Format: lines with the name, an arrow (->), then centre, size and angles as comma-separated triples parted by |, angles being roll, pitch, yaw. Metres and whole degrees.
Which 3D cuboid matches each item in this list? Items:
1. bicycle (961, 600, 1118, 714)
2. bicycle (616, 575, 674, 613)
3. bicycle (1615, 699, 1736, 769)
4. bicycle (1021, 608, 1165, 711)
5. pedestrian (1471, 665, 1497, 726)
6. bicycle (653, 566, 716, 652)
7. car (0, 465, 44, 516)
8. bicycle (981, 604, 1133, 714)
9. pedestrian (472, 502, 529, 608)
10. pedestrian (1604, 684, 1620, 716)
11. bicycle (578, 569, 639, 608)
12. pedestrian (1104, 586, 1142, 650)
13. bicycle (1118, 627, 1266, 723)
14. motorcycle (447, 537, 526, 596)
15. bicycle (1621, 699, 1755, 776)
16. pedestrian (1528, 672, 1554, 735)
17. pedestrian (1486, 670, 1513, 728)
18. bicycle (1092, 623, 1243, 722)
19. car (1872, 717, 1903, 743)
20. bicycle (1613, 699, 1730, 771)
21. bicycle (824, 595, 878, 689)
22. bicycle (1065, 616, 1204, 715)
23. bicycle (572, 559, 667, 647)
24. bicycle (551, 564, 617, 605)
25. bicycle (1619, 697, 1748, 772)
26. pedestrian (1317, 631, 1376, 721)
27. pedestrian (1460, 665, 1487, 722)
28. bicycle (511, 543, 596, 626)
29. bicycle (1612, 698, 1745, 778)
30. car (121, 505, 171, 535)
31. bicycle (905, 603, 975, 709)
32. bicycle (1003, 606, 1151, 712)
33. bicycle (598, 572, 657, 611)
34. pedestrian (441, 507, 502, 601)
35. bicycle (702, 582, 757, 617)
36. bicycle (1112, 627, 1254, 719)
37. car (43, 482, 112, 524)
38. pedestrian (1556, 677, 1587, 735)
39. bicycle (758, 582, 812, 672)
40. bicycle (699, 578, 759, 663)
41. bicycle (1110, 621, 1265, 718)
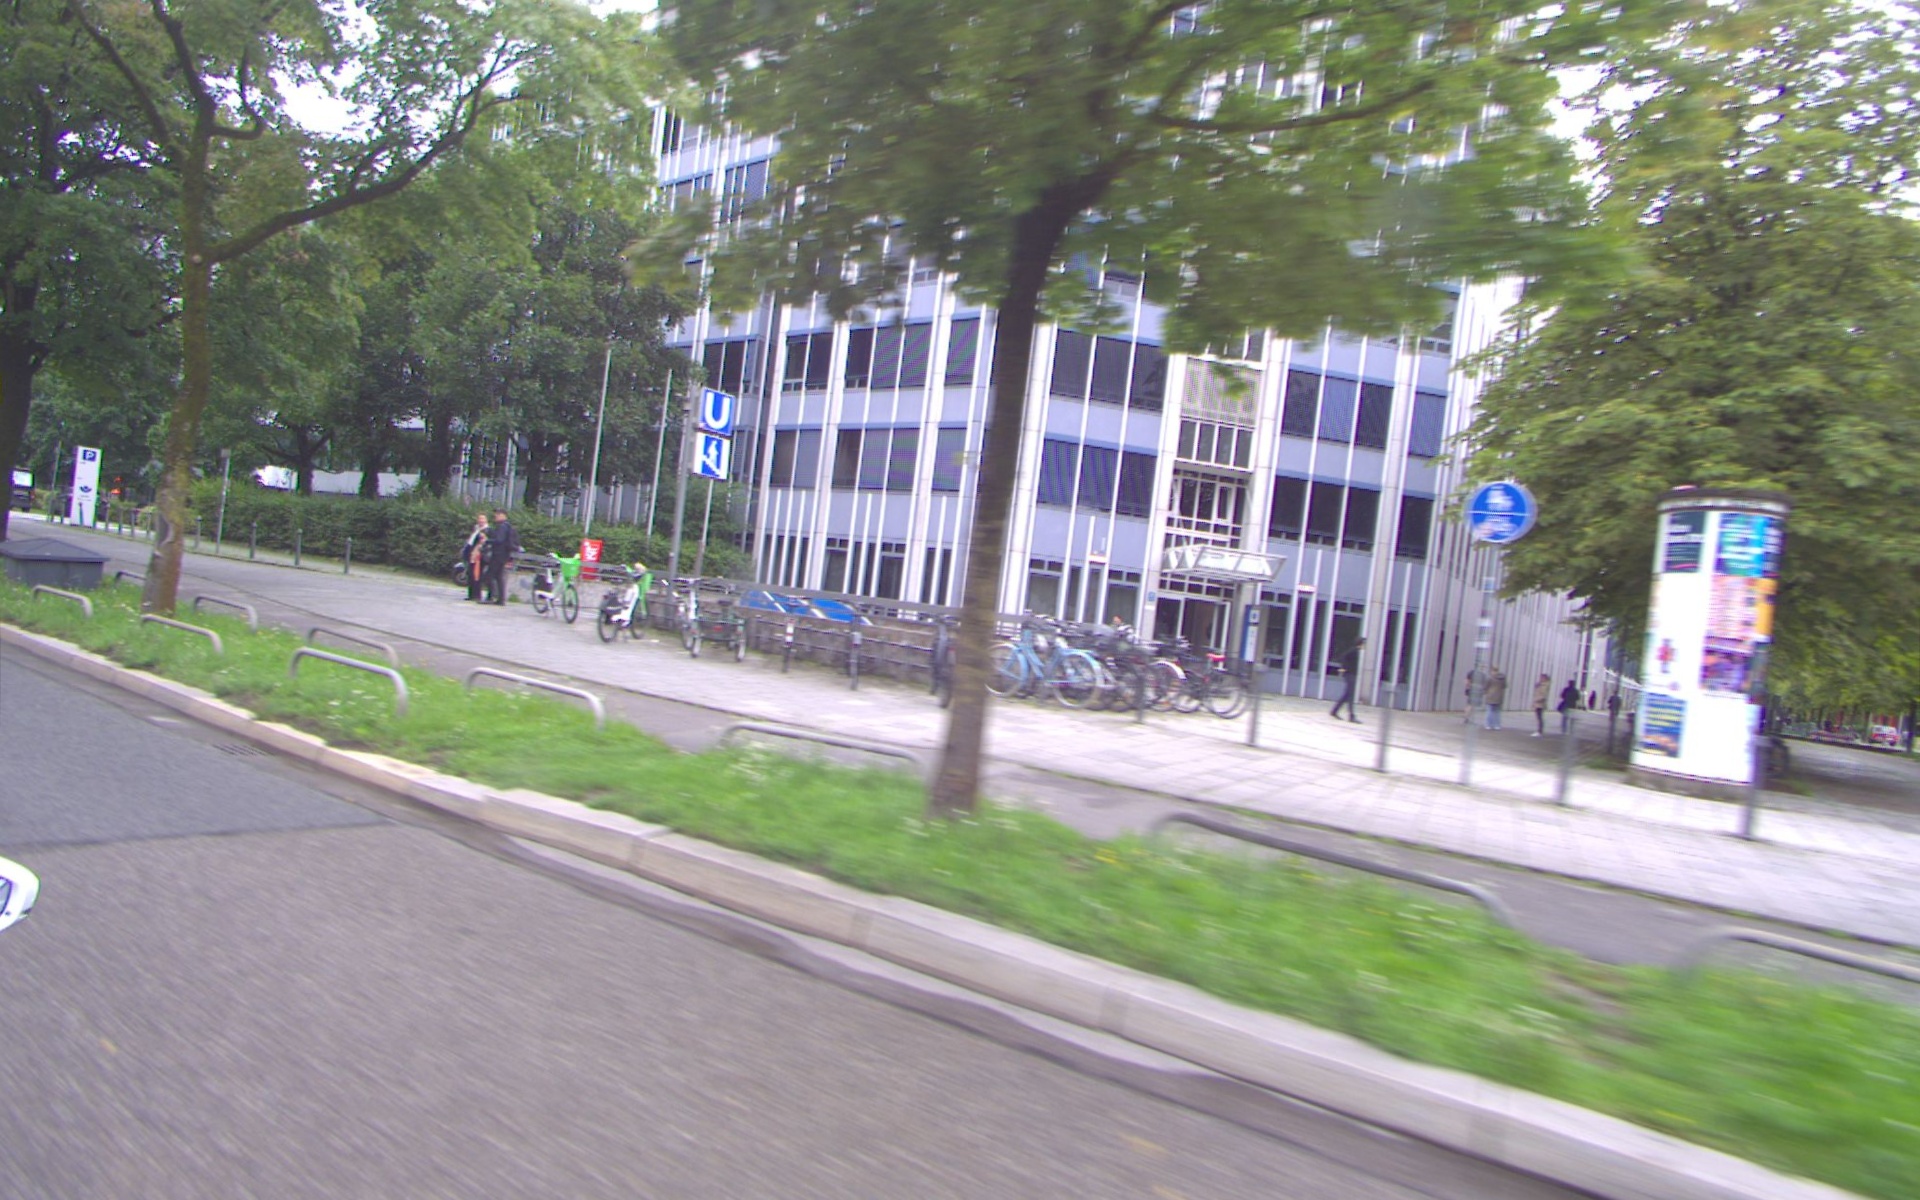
bicycle -> 1.006, 0.716, 13.076 | 1.923, 1.204, 0.488 | 7, 1, 34
bicycle -> -9.238, -0.185, 29.505 | 1.744, 0.864, 0.559 | 9, 2, 33
bicycle -> 16.982, 3.164, 23.937 | 2.137, 1.276, 0.553 | 7, 1, 27
bicycle -> 1.894, 0.840, 14.534 | 1.923, 1.204, 0.488 | 7, 1, 34
pedestrian -> 14.099, 2.561, 27.051 | 0.307, 1.592, 0.350 | 6, 1, -39
bicycle -> -4.295, 0.106, 15.811 | 0.570, 1.123, 1.949 | 7, 4, -7
car -> -50.737, -5.894, 53.025 | 6.170, 2.335, 2.265 | 7, 1, 36
bicycle -> 1.277, 0.764, 13.519 | 1.923, 1.204, 0.488 | 7, 1, 34
pedestrian -> -8.736, -0.861, 19.128 | 0.648, 1.923, 0.741 | 6, 1, -39
pedestrian -> 36.002, 5.538, 55.553 | 0.478, 1.679, 0.481 | 8, 1, 41
bicycle -> -9.929, -0.332, 28.406 | 1.804, 0.864, 0.552 | 9, 2, 33
pedestrian -> 4.618, 0.505, 28.552 | 0.643, 1.699, 0.697 | 7, 1, -13
bicycle -> 3.641, 1.163, 15.871 | 2.104, 1.204, 0.512 | 7, 1, 27
motorcycle -> -12.656, -0.899, 26.865 | 2.036, 1.335, 0.550 | 7, 1, 22
bicycle -> 15.568, 2.926, 21.585 | 2.137, 1.276, 0.509 | 7, 1, 27
pedestrian -> 15.113, 2.680, 26.170 | 0.401, 1.591, 0.347 | 8, 1, 33
pedestrian -> 14.448, 2.643, 26.932 | 0.342, 1.510, 0.346 | 7, 1, 3
bicycle -> 3.179, 1.092, 15.509 | 2.104, 1.204, 0.446 | 7, 1, 27
car -> 88.899, 12.480, 96.420 | 1.974, 2.036, 3.982 | 6, -3, 44
bicycle -> 16.144, 3.057, 22.894 | 1.986, 1.276, 0.509 | 7, 1, 27
bicycle -> -1.495, 0.524, 13.635 | 0.594, 1.104, 2.037 | 4, 1, -7
bicycle -> 2.595, 0.957, 15.084 | 1.923, 1.204, 0.446 | 7, 1, 34
bicycle -> -5.221, 0.014, 15.558 | 0.586, 1.205, 1.952 | 7, 3, 3
bicycle -> -10.374, -0.427, 27.718 | 1.804, 0.864, 0.683 | 9, 2, 33
bicycle -> 15.989, 2.959, 22.288 | 2.137, 1.276, 0.509 | 7, 1, 27
pedestrian -> 8.241, 1.611, 21.451 | 0.684, 1.795, 0.760 | 6, 1, -43
pedestrian -> 14.092, 2.572, 27.621 | 0.389, 1.510, 0.383 | 8, 1, 44
bicycle -> -7.176, -0.289, 17.707 | 1.835, 1.243, 0.529 | 10, 5, 41
bicycle -> 14.714, 2.802, 20.670 | 2.020, 1.276, 0.607 | 7, 1, 29
car -> -46.877, -4.569, 57.987 | 1.772, 1.390, 3.928 | 8, -1, -34
bicycle -> -0.285, 0.665, 12.744 | 0.570, 1.114, 2.027 | 5, 2, -8
bicycle -> 1.604, 0.801, 13.999 | 1.923, 1.204, 0.488 | 7, 1, 34
bicycle -> -9.590, -0.257, 29.010 | 1.744, 0.864, 0.559 | 9, 2, 33
pedestrian -> -9.623, -0.911, 19.809 | 0.779, 1.736, 0.742 | 6, 1, -39
bicycle -> -7.378, -0.020, 32.127 | 1.744, 0.864, 0.559 | 9, 2, 33
bicycle -> 3.671, 1.184, 16.631 | 2.104, 1.204, 0.578 | 7, 1, 27
car -> -49.215, -5.425, 56.074 | 4.402, 1.841, 1.842 | 7, 1, 36
pedestrian -> 18.590, 3.217, 30.587 | 0.615, 1.679, 0.590 | 8, 1, 34
bicycle -> -2.481, 0.348, 14.396 | 0.570, 1.080, 1.949 | 5, 3, -7
bicycle -> -3.482, 0.274, 15.283 | 0.587, 1.098, 1.949 | 7, 2, -7
bicycle -> 3.906, 1.176, 17.378 | 2.434, 1.310, 0.509 | 7, 1, 27
